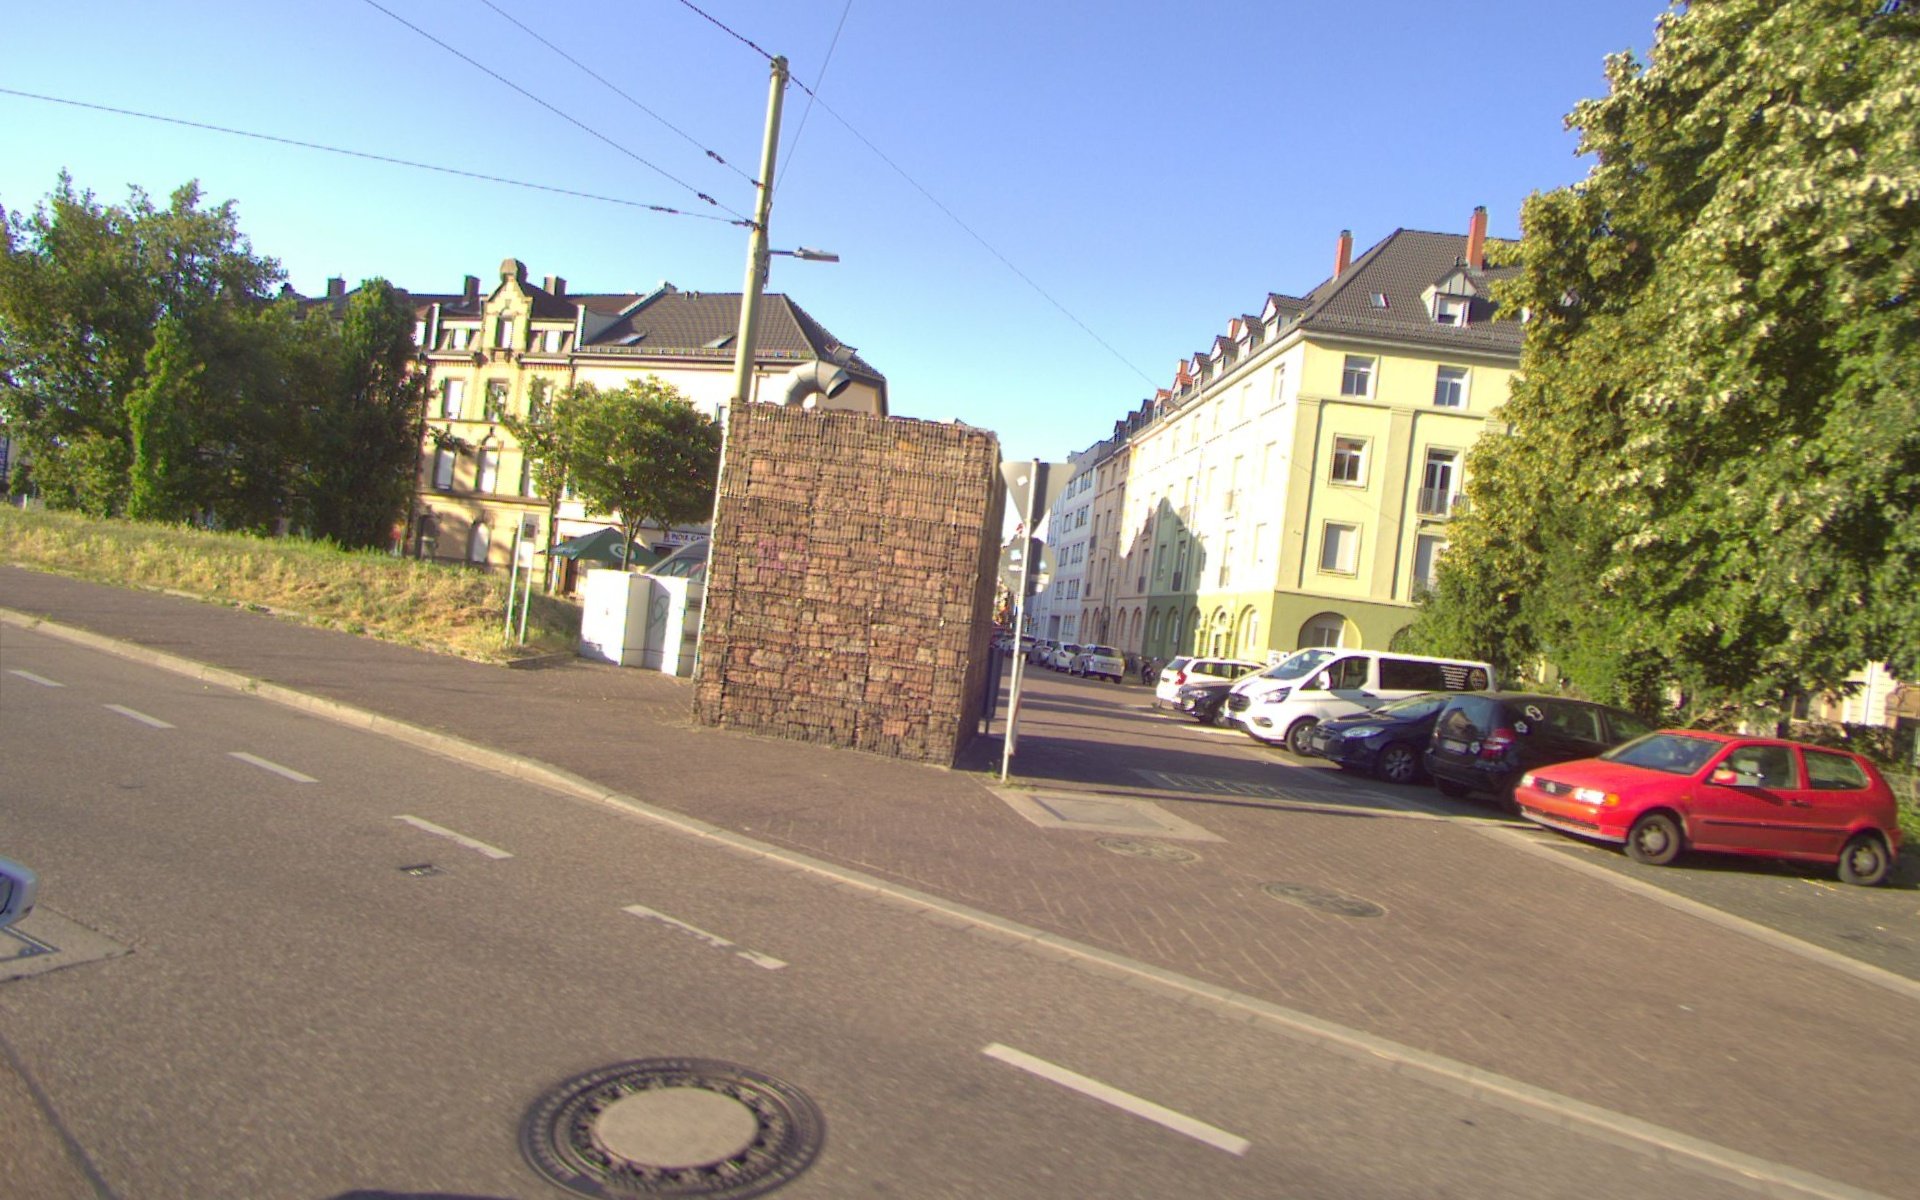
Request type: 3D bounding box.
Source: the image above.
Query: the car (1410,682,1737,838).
[{"bbox_3d":[8.233,2.120,13.669,3.385,1.555,1.630,7,-1,-6],"label":"car"}]

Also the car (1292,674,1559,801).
[{"bbox_3d":[7.345,2.151,16.049,3.385,1.476,1.630,7,-1,-6],"label":"car"}]

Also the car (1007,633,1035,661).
[{"bbox_3d":[3.826,2.956,63.382,1.292,1.532,2.863,7,-1,-4],"label":"car"}]

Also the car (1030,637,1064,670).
[{"bbox_3d":[4.693,2.895,54.594,1.292,1.532,3.009,7,-1,-4],"label":"car"}]

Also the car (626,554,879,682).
[{"bbox_3d":[-4.688,0.424,23.360,5.320,2.241,2.041,7,0,-7],"label":"car"}]

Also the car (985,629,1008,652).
[{"bbox_3d":[2.725,3.012,75.658,1.292,1.532,2.863,7,-1,-4],"label":"car"}]

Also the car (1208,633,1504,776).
[{"bbox_3d":[7.327,1.906,18.824,4.668,2.003,1.924,7,0,-9],"label":"car"}]

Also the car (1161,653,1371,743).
[{"bbox_3d":[6.943,2.222,23.030,4.152,1.484,1.749,7,-1,-9],"label":"car"}]

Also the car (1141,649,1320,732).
[{"bbox_3d":[6.863,2.292,25.749,3.840,1.558,1.924,7,-1,-9],"label":"car"}]

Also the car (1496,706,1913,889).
[{"bbox_3d":[8.073,2.119,11.088,3.385,1.373,1.630,7,-1,-6],"label":"car"}]

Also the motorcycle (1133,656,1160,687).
[{"bbox_3d":[8.094,3.100,43.775,0.735,1.208,2.104,7,-2,3],"label":"motorcycle"}]

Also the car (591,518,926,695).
[{"bbox_3d":[-3.928,0.157,20.356,6.107,2.699,2.041,7,0,-7],"label":"car"}]

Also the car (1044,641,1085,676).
[{"bbox_3d":[5.160,2.885,49.999,1.292,1.436,3.630,7,-1,-3],"label":"car"}]

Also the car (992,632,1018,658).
[{"bbox_3d":[3.085,3.094,69.539,1.292,1.532,2.863,7,-1,-4],"label":"car"}]

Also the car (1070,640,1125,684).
[{"bbox_3d":[5.904,2.647,43.580,1.504,1.548,3.643,7,-1,-4],"label":"car"}]
